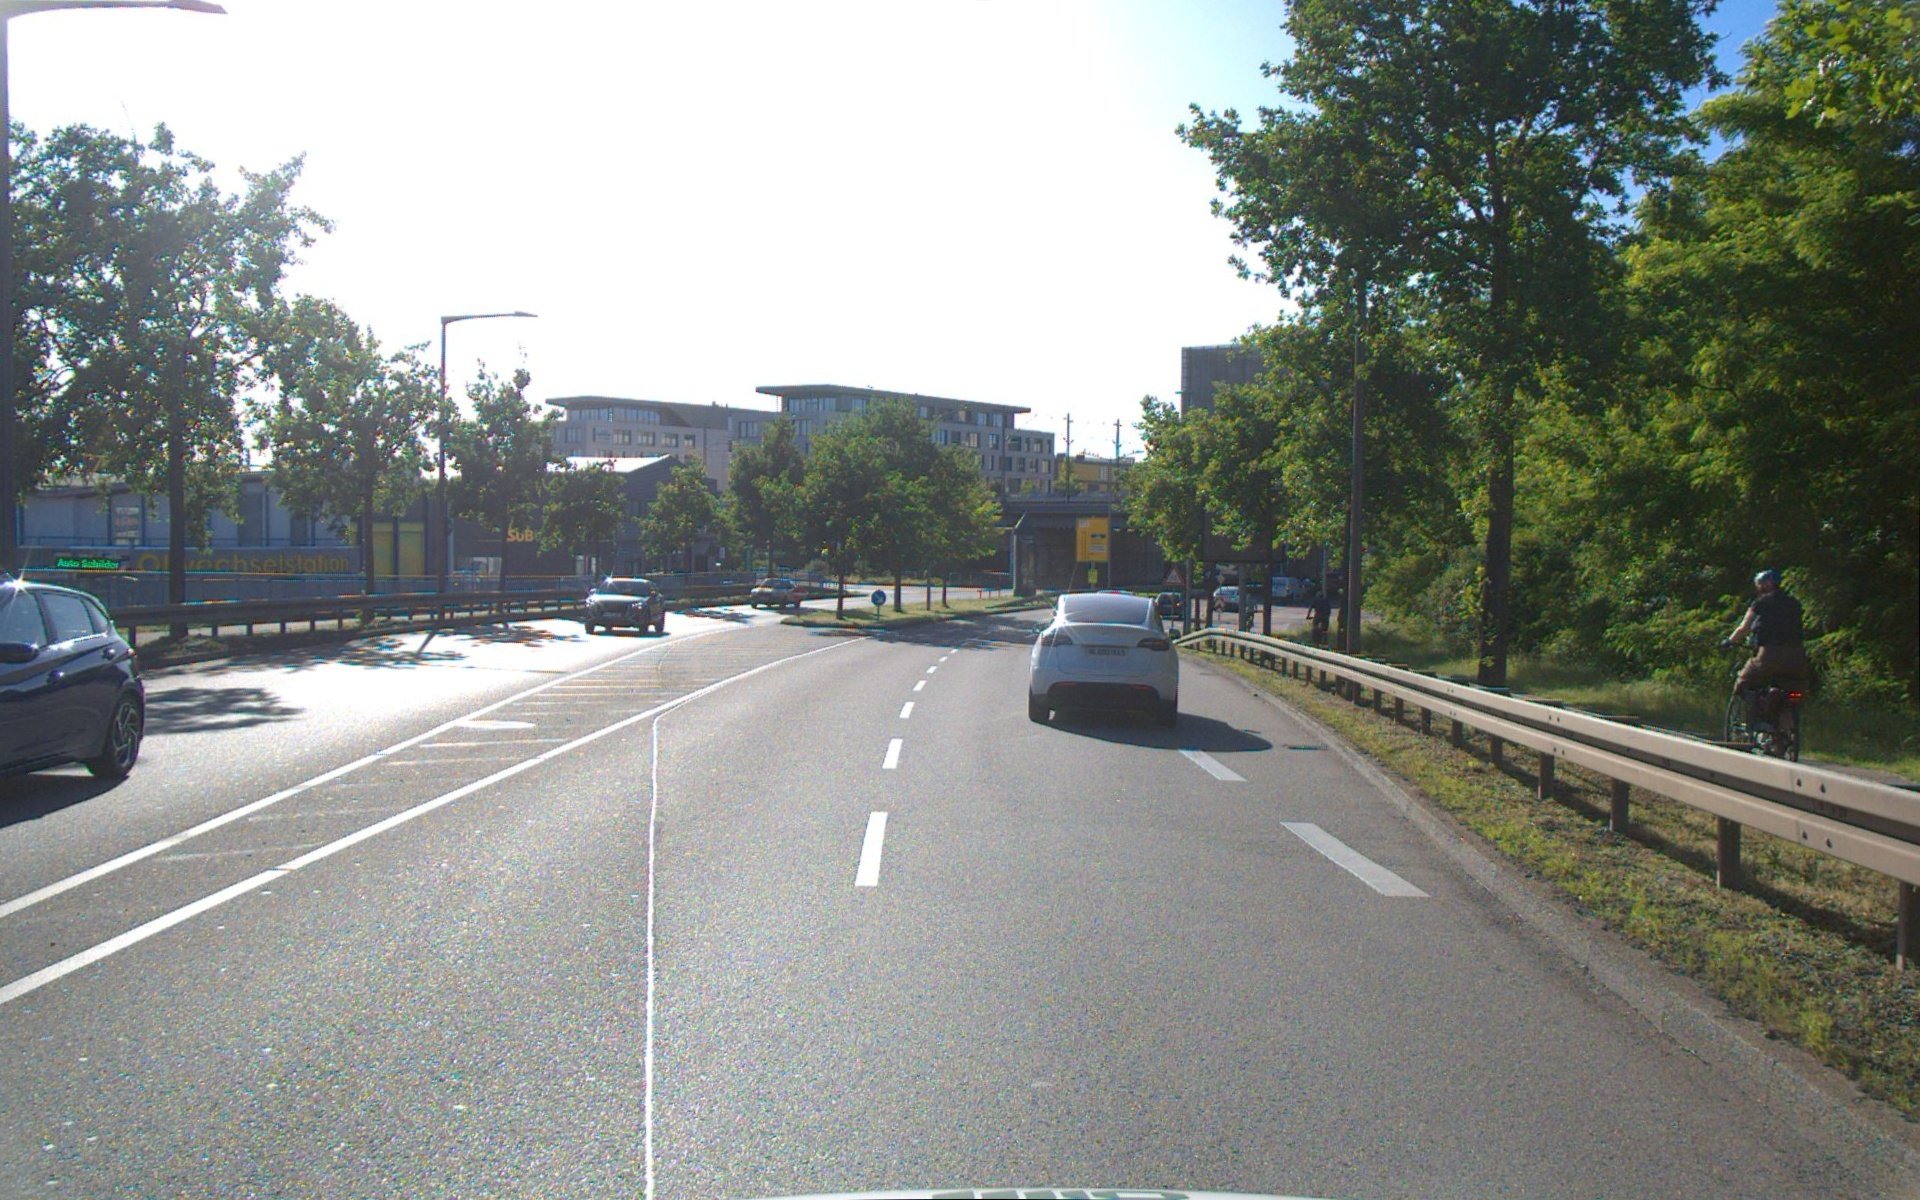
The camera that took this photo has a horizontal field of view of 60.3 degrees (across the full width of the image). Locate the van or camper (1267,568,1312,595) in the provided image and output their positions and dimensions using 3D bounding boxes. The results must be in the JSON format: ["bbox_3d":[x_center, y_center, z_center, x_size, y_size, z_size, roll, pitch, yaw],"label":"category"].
[{"bbox_3d":[23.979,-1.351,120.215,1.792,1.822,4.535,3,3,31],"label":"van or camper"}]

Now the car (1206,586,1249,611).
[{"bbox_3d":[17.169,-0.121,105.900,1.728,1.501,4.288,2,2,23],"label":"car"}]

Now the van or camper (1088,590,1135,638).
[{"bbox_3d":[6.442,0.563,70.693,1.917,1.916,4.883,1,1,4],"label":"van or camper"}]

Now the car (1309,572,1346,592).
[{"bbox_3d":[30.888,-1.543,138.938,1.679,1.549,3.730,3,3,35],"label":"car"}]

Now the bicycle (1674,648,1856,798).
[{"bbox_3d":[6.666,0.985,13.804,0.686,1.093,1.922,-1,0,4],"label":"bicycle"}]

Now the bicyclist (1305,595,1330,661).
[{"bbox_3d":[10.045,0.781,46.469,0.661,1.807,0.949,-1,0,13],"label":"bicyclist"}]

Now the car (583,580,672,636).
[{"bbox_3d":[-9.609,0.204,48.055,1.726,1.515,4.276,2,0,-1],"label":"car"}]

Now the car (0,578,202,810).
[{"bbox_3d":[-7.026,0.575,11.944,1.632,1.471,3.845,0,1,-5],"label":"car"}]

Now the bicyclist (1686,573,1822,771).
[{"bbox_3d":[6.660,0.579,13.919,0.692,1.606,1.005,-1,1,4],"label":"bicyclist"}]

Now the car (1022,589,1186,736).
[{"bbox_3d":[2.018,0.729,22.034,1.873,1.669,4.414,2,1,8],"label":"car"}]

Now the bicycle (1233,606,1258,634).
[{"bbox_3d":[12.367,0.852,71.633,0.727,1.131,2.453,-1,1,18],"label":"bicycle"}]

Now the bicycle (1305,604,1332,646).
[{"bbox_3d":[10.110,0.696,46.619,0.680,1.114,2.120,-1,1,13],"label":"bicycle"}]

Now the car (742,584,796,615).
[{"bbox_3d":[-9.285,-0.041,80.847,1.693,1.409,4.499,2,1,5],"label":"car"}]

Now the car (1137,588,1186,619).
[{"bbox_3d":[11.205,0.183,91.827,1.573,1.459,3.675,3,3,26],"label":"car"}]

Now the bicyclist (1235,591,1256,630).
[{"bbox_3d":[12.374,0.453,71.706,0.730,1.647,0.913,-1,1,19],"label":"bicyclist"}]
